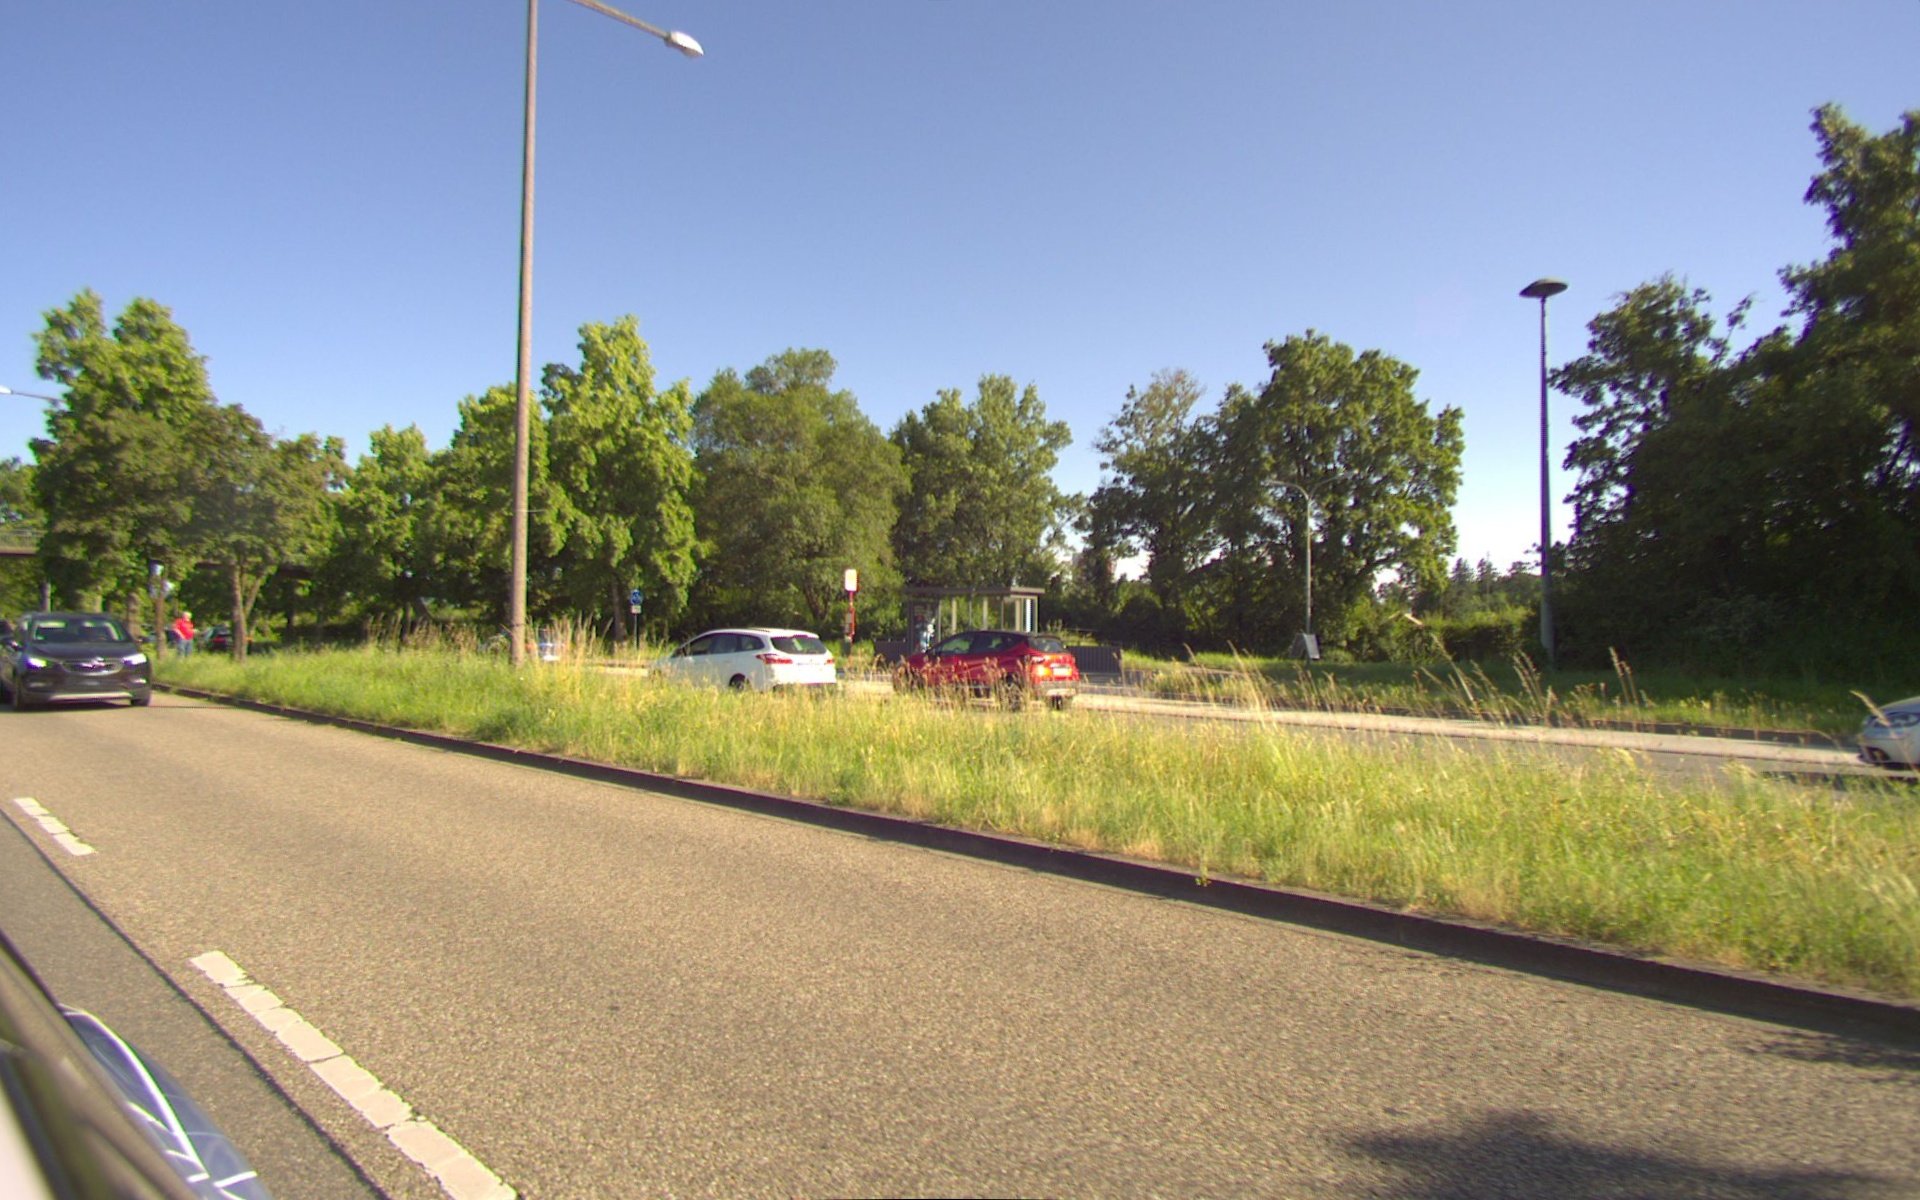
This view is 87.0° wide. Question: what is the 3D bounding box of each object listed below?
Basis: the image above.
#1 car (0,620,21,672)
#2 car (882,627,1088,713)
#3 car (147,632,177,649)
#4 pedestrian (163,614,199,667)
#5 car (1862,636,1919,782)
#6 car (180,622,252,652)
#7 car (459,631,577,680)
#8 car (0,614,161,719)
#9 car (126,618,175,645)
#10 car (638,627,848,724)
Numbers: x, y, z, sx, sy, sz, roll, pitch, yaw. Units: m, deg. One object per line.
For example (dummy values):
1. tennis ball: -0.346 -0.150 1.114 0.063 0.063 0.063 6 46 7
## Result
1. car: -31.020 1.464 31.794 4.645 1.574 1.799 -2 -3 42
2. car: 0.438 1.371 20.333 3.997 1.575 1.588 -2 -5 40
3. car: -71.043 3.637 90.090 4.257 1.442 1.522 -2 -4 44
4. pedestrian: -25.414 1.317 33.030 0.621 1.709 0.946 1 -2 -18
5. car: 11.591 1.125 9.887 4.061 1.483 1.695 -1 -4 41
6. car: -36.273 1.784 49.282 4.976 1.371 1.763 -1 -2 41
7. car: -14.799 1.813 33.769 4.593 1.512 1.786 -1 -3 41
8. car: -15.778 1.090 17.894 4.512 1.627 1.787 -1 -2 41
9. car: -51.769 1.993 64.681 4.196 1.644 1.712 -1 -4 41
10. car: -4.205 1.339 19.209 4.358 1.615 1.695 -1 -3 43
